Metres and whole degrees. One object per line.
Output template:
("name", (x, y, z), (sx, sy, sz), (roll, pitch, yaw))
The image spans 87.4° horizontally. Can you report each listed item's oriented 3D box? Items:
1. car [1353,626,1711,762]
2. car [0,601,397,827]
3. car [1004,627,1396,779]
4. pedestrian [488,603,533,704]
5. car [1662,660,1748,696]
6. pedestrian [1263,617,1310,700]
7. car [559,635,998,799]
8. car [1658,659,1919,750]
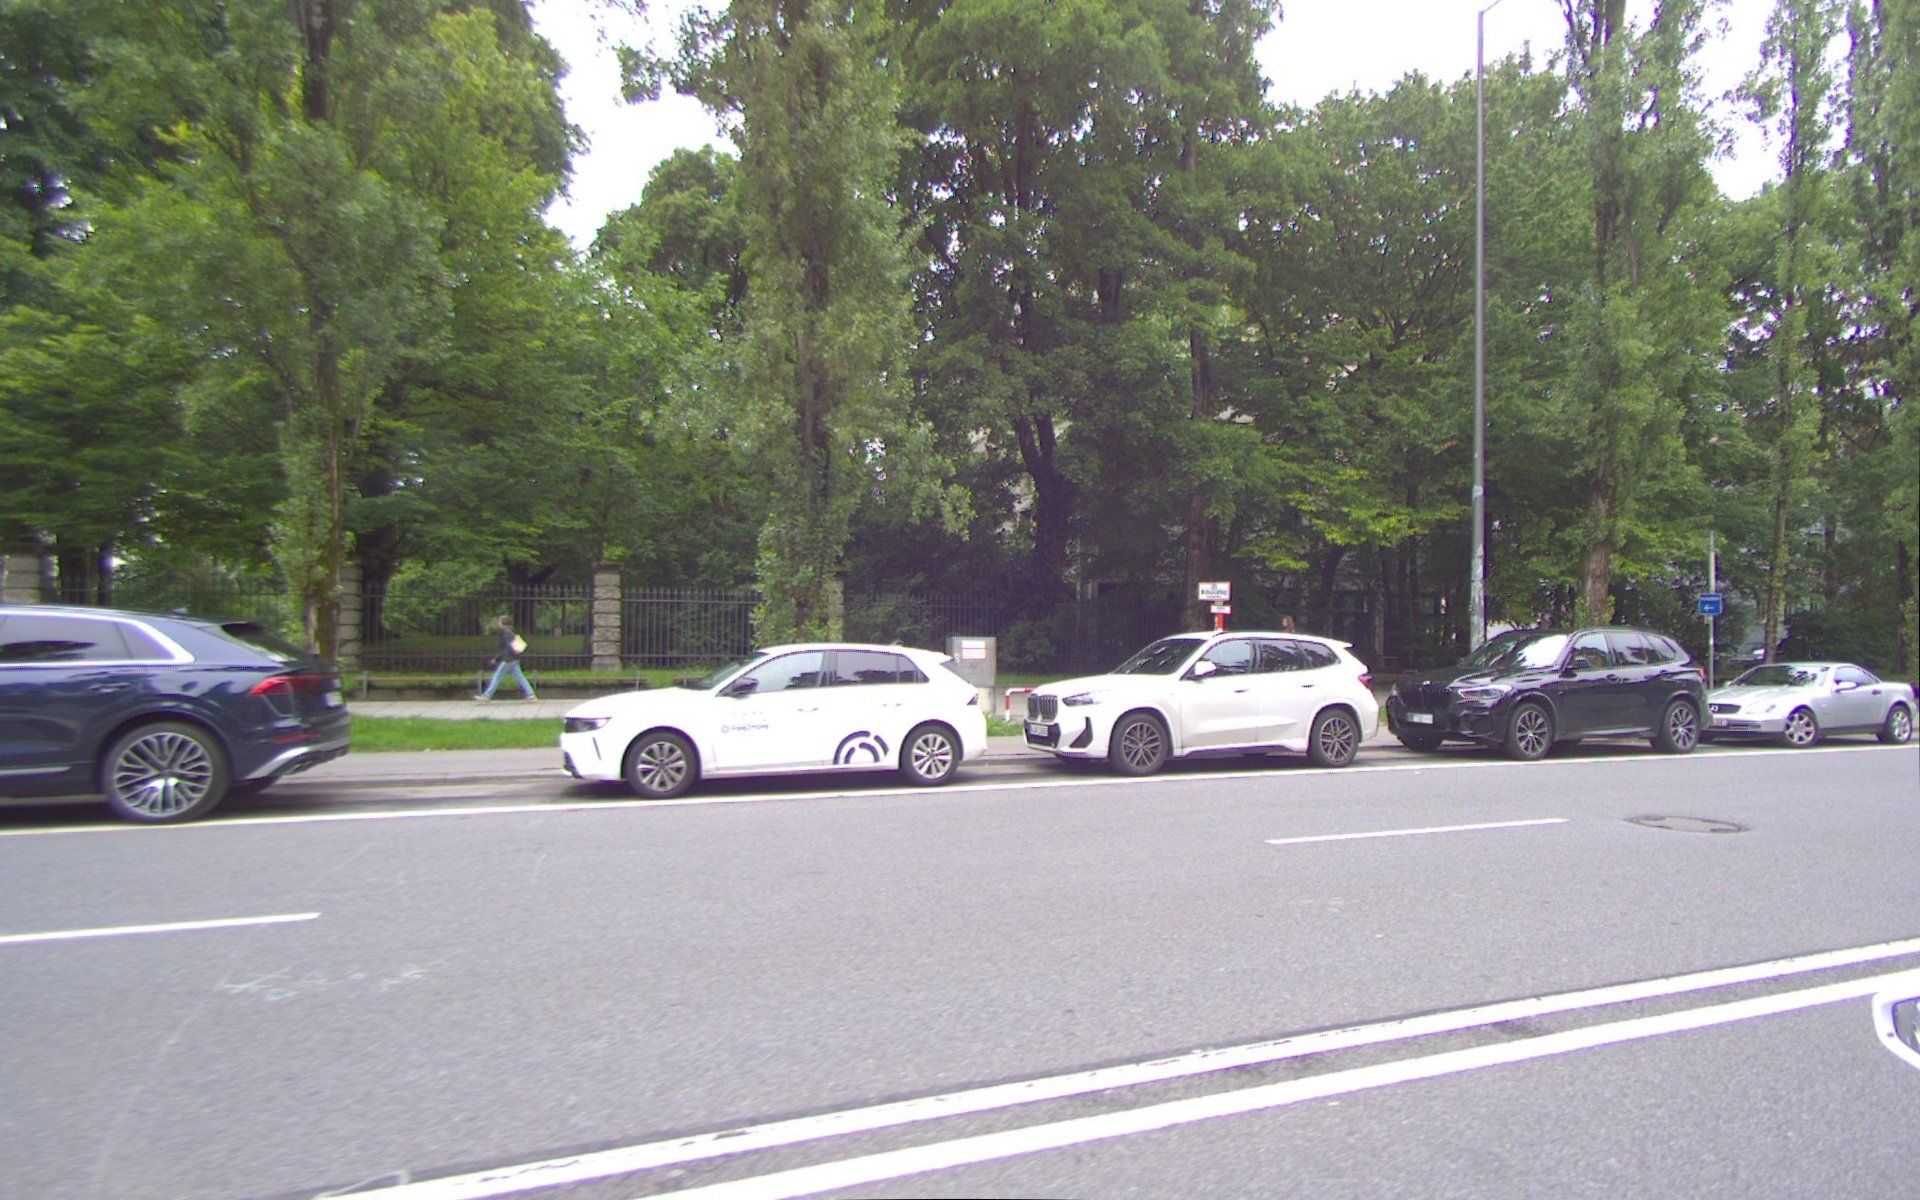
("car", (8.057, 1.264, 14.160), (4.649, 1.680, 1.877), (1, -4, -22))
("car", (-7.511, 0.869, 8.021), (4.977, 1.629, 1.813), (1, -4, -21))
("car", (2.899, 1.178, 12.258), (4.393, 1.609, 1.784), (1, -4, -20))
("pedestrian", (-8.070, 0.949, 18.035), (0.663, 1.771, 0.548), (1, -1, -21))
("car", (38.450, 4.006, 51.857), (4.213, 1.706, 1.986), (2, -2, -28))
("pedestrian", (7.361, 1.304, 22.647), (0.764, 1.839, 0.639), (1, -1, -20))
("car", (-1.842, 1.124, 10.360), (4.174, 1.440, 1.674), (2, -3, -21))
("car", (13.377, 1.611, 16.099), (3.967, 1.321, 1.579), (1, -3, -20))
